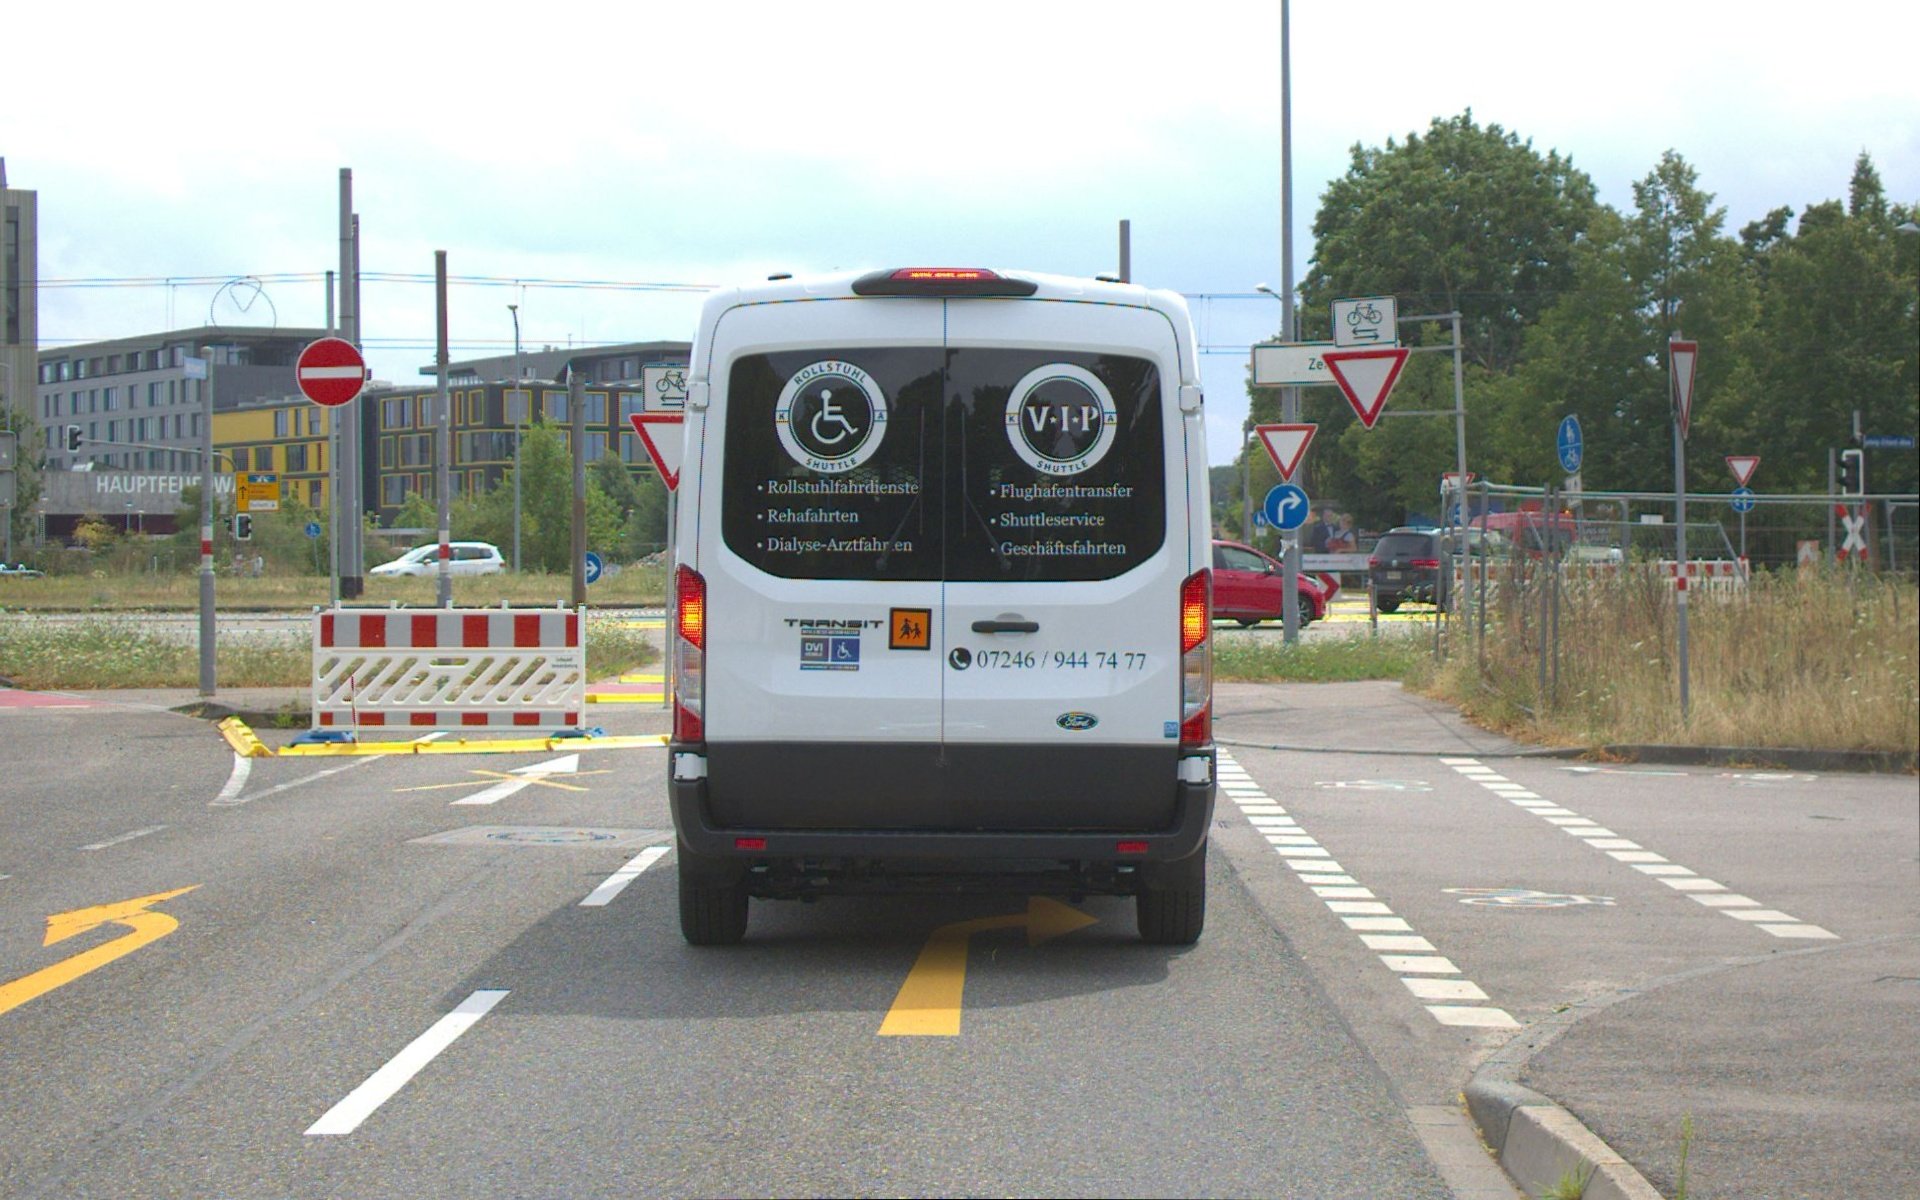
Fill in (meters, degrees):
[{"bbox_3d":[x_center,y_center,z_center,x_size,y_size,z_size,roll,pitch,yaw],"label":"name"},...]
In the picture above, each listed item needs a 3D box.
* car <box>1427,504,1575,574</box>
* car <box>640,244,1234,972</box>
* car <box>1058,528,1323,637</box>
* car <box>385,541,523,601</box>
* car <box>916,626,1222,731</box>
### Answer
[{"bbox_3d":[14.703,-1.659,93.684,2.006,1.810,4.413,-2,1,-21],"label":"car"},{"bbox_3d":[-0.084,0.001,14.011,2.062,2.531,4.000,0,1,0],"label":"car"},{"bbox_3d":[3.874,-0.303,57.861,3.986,1.656,1.891,-3,1,-24],"label":"car"},{"bbox_3d":[-16.329,-0.943,110.948,3.987,1.766,1.768,-3,2,-34],"label":"car"},{"bbox_3d":[1.661,1.169,52.262,4.341,1.349,1.622,-3,1,-24],"label":"car"}]
